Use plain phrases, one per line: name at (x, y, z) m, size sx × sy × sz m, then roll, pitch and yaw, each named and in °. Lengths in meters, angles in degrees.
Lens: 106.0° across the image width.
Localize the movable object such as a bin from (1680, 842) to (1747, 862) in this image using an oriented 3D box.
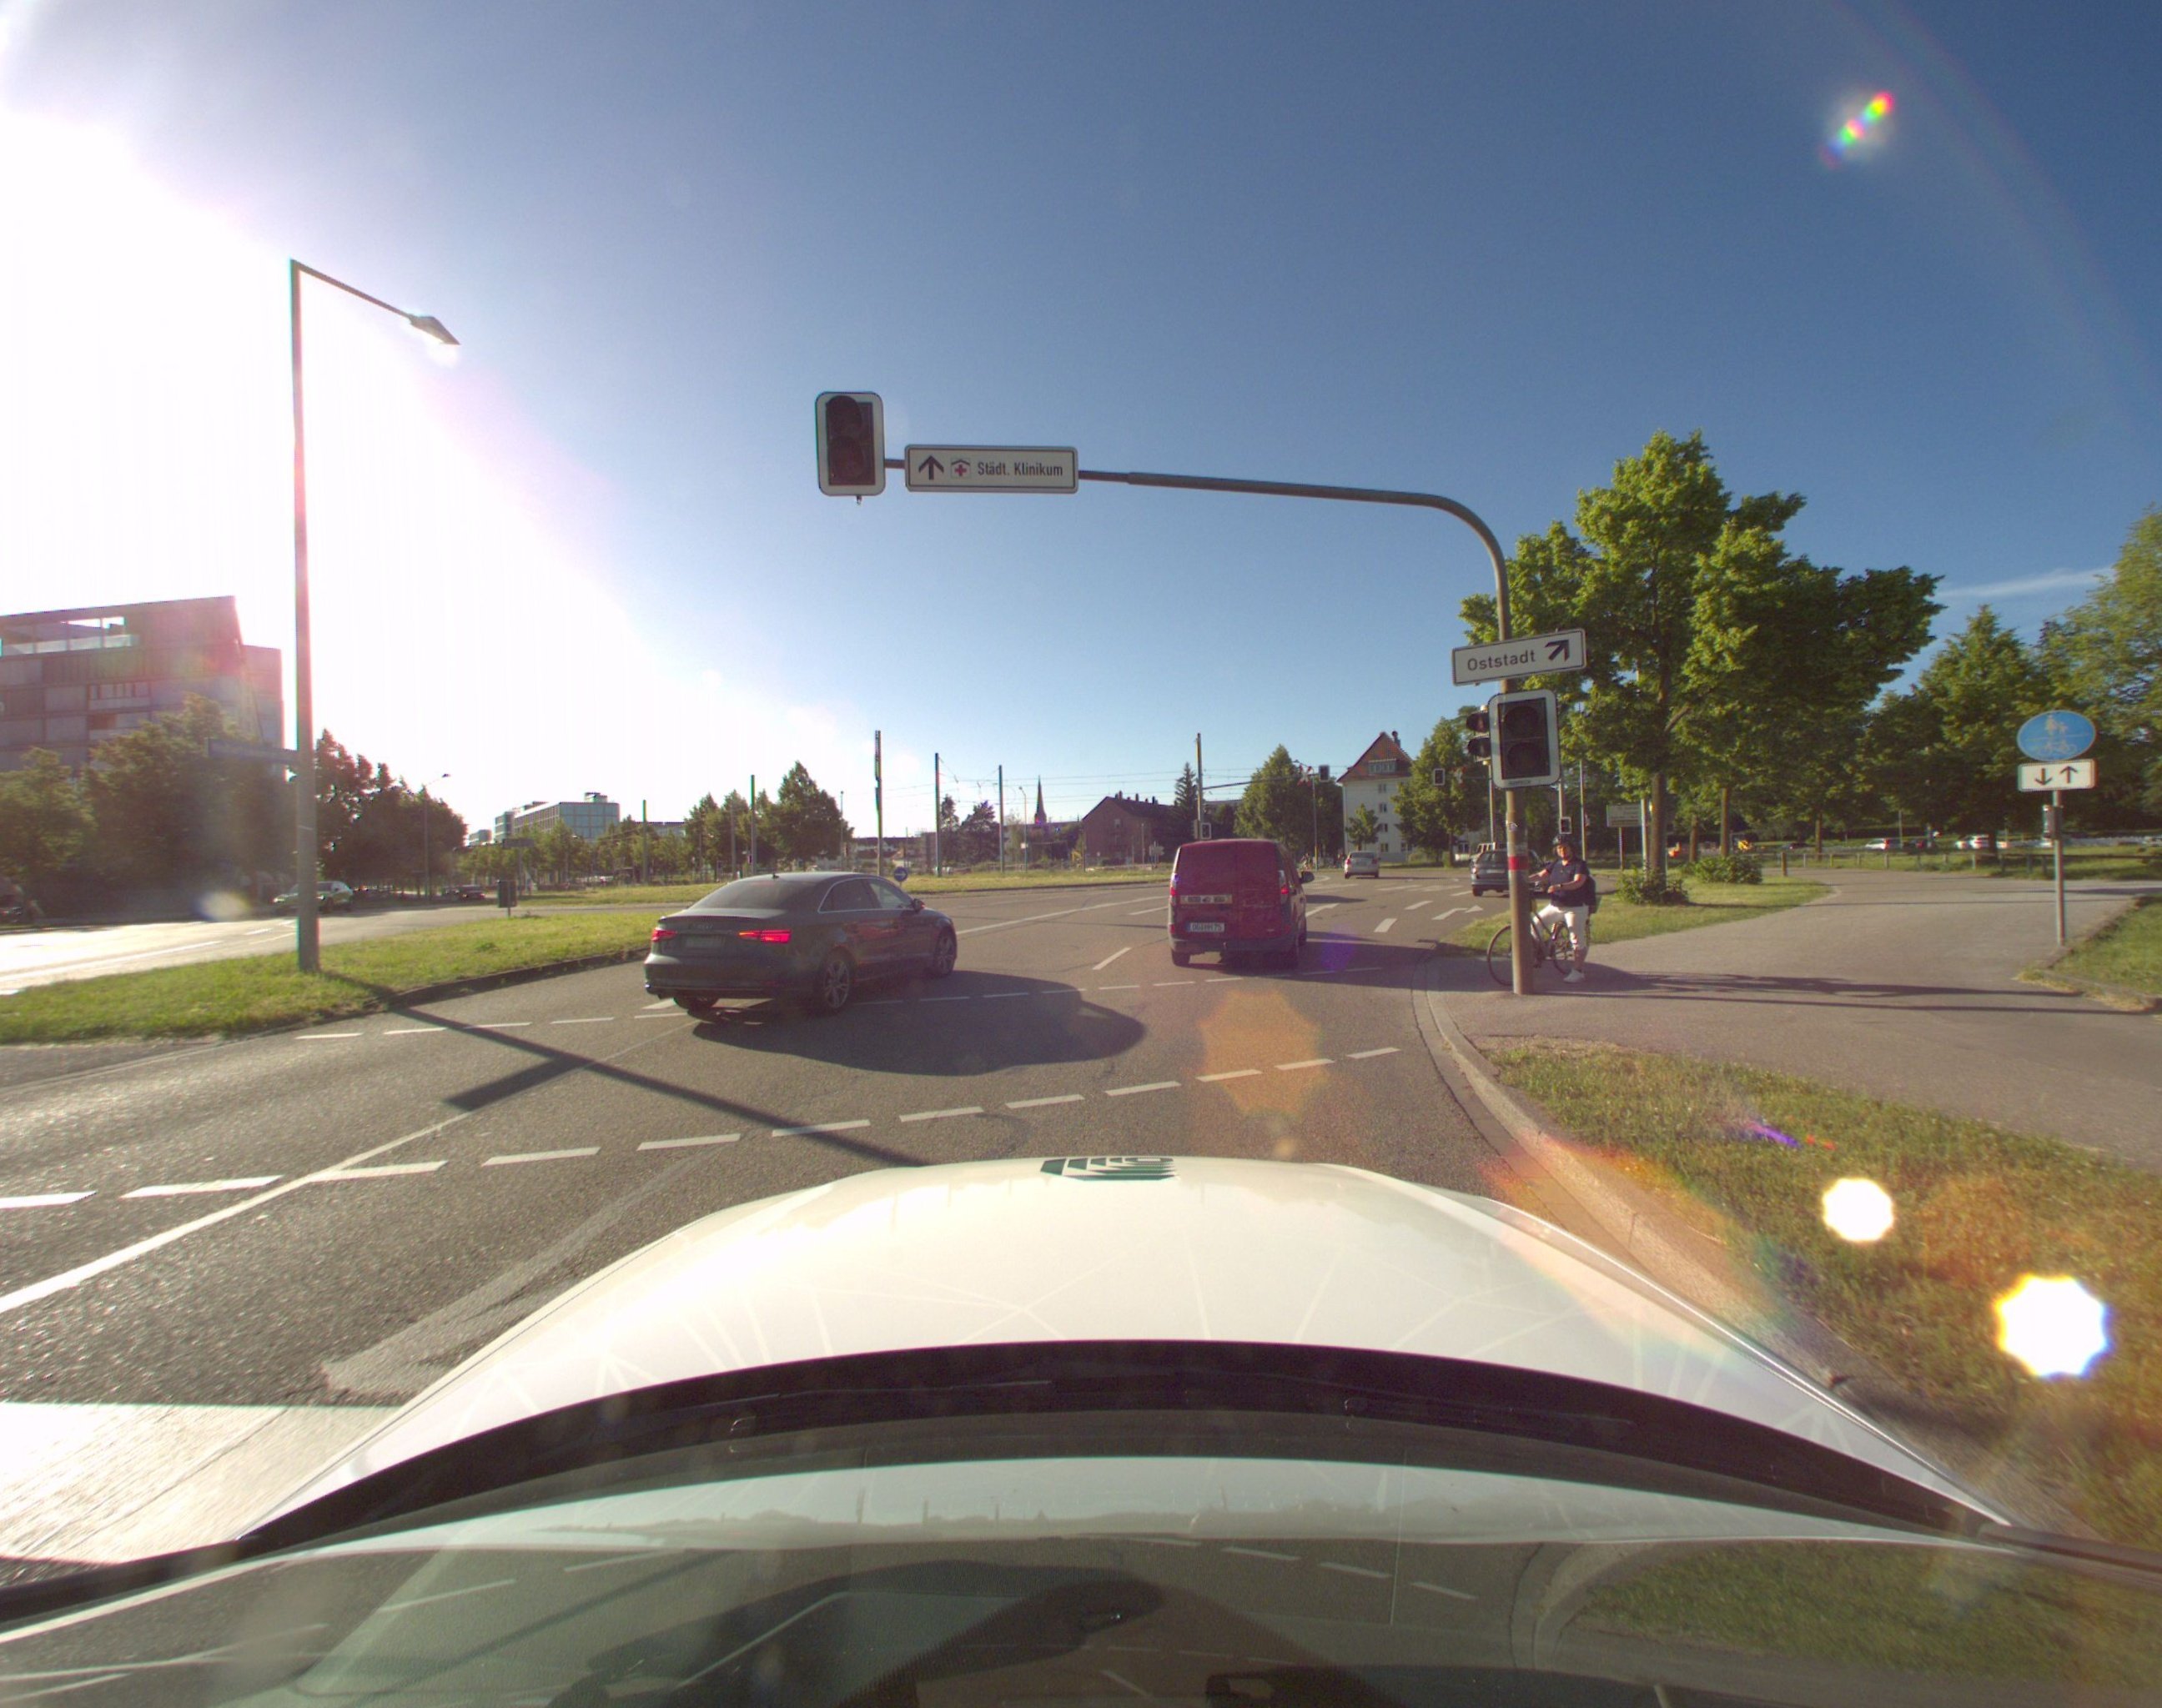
movable object such as a bin at (64.408, -0.176, 83.030) m, size 4.965 × 1.948 × 2.250 m, roll -1°, pitch -2°, yaw 18°

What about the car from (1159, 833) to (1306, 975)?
car at (2.477, 0.660, 12.554) m, size 1.788 × 1.813 × 3.826 m, roll -1°, pitch -1°, yaw 17°

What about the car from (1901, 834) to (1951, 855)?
car at (80.469, -0.868, 77.646) m, size 1.975 × 1.769 × 4.022 m, roll -1°, pitch -2°, yaw 25°

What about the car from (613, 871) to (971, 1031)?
car at (-2.927, 0.910, 9.436) m, size 1.747 × 1.380 × 4.375 m, roll -1°, pitch -1°, yaw 14°

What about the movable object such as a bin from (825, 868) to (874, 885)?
movable object such as a bin at (-41.913, 4.103, 147.473) m, size 7.975 × 2.783 × 2.908 m, roll -1°, pitch -1°, yaw -42°

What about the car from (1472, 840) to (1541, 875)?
car at (25.162, 0.247, 48.368) m, size 1.986 × 1.897 × 4.760 m, roll -2°, pitch -2°, yaw 6°

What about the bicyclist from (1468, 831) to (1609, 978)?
bicyclist at (5.272, 0.557, 9.406) m, size 1.090 × 1.562 × 0.869 m, roll -2°, pitch -2°, yaw -26°

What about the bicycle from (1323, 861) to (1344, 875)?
bicycle at (24.841, 1.395, 80.173) m, size 0.819 × 1.266 × 2.192 m, roll 1°, pitch -2°, yaw -23°

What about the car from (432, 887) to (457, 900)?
car at (-90.244, 5.560, 115.468) m, size 3.867 × 1.785 × 1.786 m, roll -2°, pitch -1°, yaw 37°

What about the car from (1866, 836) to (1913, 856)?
car at (78.520, -0.780, 79.112) m, size 1.975 × 1.723 × 4.022 m, roll -1°, pitch -2°, yaw 25°

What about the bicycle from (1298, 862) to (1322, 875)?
bicycle at (23.193, 1.484, 82.518) m, size 0.889 × 1.266 × 2.185 m, roll 2°, pitch -3°, yaw -37°

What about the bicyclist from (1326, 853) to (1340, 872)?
bicyclist at (24.803, 0.871, 80.284) m, size 0.813 × 1.852 × 1.018 m, roll 1°, pitch -3°, yaw -24°

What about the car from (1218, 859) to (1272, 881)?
car at (13.209, 1.280, 65.829) m, size 2.005 × 1.639 × 4.368 m, roll -1°, pitch -1°, yaw -28°

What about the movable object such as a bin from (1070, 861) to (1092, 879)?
movable object such as a bin at (-0.053, 2.574, 128.314) m, size 2.426 × 2.774 × 3.975 m, roll 1°, pitch -2°, yaw -18°

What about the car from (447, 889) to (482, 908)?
car at (-63.295, 4.531, 83.534) m, size 2.475 × 1.785 × 4.954 m, roll -1°, pitch -1°, yaw -41°

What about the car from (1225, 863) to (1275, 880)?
car at (16.014, 1.670, 77.255) m, size 2.009 × 1.539 × 4.358 m, roll -1°, pitch -1°, yaw -37°

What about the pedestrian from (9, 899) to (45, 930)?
pedestrian at (-57.490, 3.303, 44.424) m, size 0.885 × 1.629 × 0.756 m, roll -1°, pitch -1°, yaw -19°

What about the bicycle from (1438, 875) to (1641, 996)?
bicycle at (5.306, 0.887, 9.410) m, size 2.221 × 1.155 × 0.869 m, roll -2°, pitch -2°, yaw -26°

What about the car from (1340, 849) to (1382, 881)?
car at (15.067, 0.547, 43.724) m, size 1.977 × 1.575 × 4.430 m, roll -2°, pitch -1°, yaw 20°

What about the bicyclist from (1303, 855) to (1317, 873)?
bicyclist at (23.620, 1.006, 83.942) m, size 0.888 × 1.852 × 1.015 m, roll 2°, pitch -3°, yaw -36°

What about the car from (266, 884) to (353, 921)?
car at (-36.496, 2.235, 38.664) m, size 2.015 × 1.541 × 4.283 m, roll -1°, pitch -1°, yaw -30°

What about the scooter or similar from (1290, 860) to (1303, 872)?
scooter or similar at (22.816, 1.284, 86.286) m, size 0.447 × 1.248 × 1.249 m, roll 2°, pitch -4°, yaw -41°

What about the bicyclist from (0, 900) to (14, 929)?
bicyclist at (-61.055, 3.415, 45.989) m, size 0.663 × 1.580 × 0.828 m, roll -1°, pitch -1°, yaw -22°

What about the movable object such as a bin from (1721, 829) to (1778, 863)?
movable object such as a bin at (60.407, -0.657, 73.710) m, size 1.979 × 2.789 × 5.067 m, roll -1°, pitch -2°, yaw 15°

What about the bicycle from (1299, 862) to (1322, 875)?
bicycle at (23.662, 1.532, 83.884) m, size 0.889 × 1.266 × 2.185 m, roll 2°, pitch -3°, yaw -37°

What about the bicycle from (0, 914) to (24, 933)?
bicycle at (-61.046, 3.949, 45.948) m, size 0.663 × 0.988 × 2.246 m, roll -1°, pitch -1°, yaw -22°

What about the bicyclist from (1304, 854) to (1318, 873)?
bicyclist at (23.295, 0.952, 82.414) m, size 0.888 × 1.852 × 1.015 m, roll 2°, pitch -3°, yaw -36°

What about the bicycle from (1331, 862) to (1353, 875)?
bicycle at (25.876, 1.416, 80.831) m, size 0.819 × 1.266 × 2.192 m, roll 1°, pitch -2°, yaw -23°

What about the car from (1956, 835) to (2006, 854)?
car at (83.841, -0.900, 75.927) m, size 1.810 × 1.556 × 3.829 m, roll -1°, pitch -2°, yaw 27°

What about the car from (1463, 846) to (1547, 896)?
car at (13.320, 0.497, 25.456) m, size 1.697 × 1.436 × 4.178 m, roll -2°, pitch -1°, yaw 36°

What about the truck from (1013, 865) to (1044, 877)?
truck at (-9.372, 3.034, 145.609) m, size 2.182 × 2.014 × 6.359 m, roll 2°, pitch -3°, yaw -41°

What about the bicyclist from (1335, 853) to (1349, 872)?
bicyclist at (25.875, 0.889, 80.849) m, size 0.813 × 1.852 × 1.018 m, roll 1°, pitch -3°, yaw -24°
